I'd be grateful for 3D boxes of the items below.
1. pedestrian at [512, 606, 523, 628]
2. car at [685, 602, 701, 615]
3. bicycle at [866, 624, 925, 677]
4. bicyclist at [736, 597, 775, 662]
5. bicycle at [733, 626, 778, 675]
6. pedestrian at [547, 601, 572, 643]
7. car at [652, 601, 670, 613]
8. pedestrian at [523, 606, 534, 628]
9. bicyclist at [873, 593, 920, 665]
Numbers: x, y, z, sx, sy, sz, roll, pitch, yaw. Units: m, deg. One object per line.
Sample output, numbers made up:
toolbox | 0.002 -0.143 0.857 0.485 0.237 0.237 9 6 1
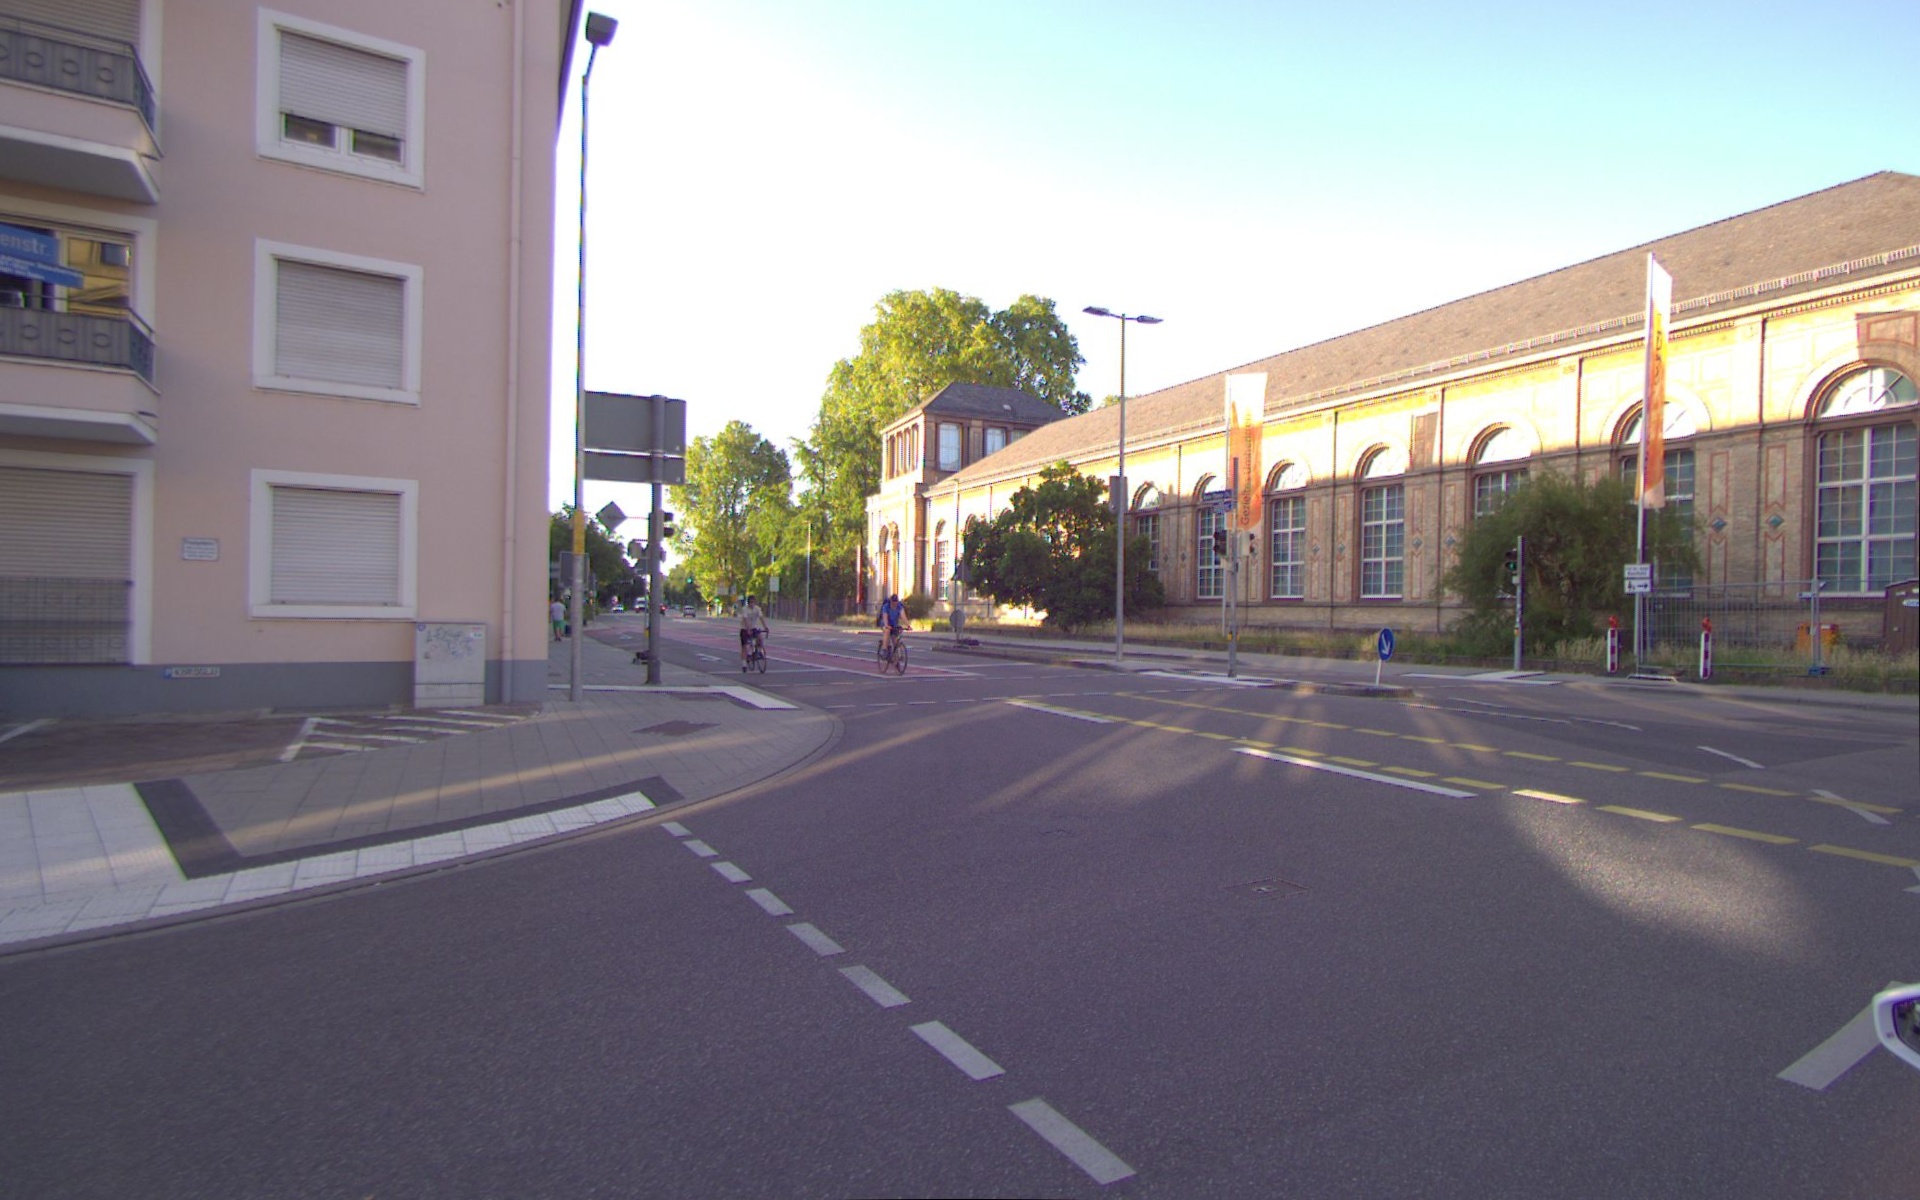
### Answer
pedestrian | -31.296 1.192 70.965 0.610 1.554 0.684 1 0 -32
car | -37.847 1.158 142.440 1.969 1.743 3.983 1 0 -19
bicycle | -1.463 1.104 22.475 0.713 1.082 1.990 1 0 -22
bicyclist | -4.687 0.669 22.995 0.703 1.459 0.889 1 0 -23
bicycle | -4.692 1.134 22.989 0.713 1.024 1.680 1 0 -22
pedestrian | -16.329 0.905 40.938 0.865 1.674 0.805 1 -3 -24
car | -41.802 0.964 140.357 1.971 1.743 3.979 1 0 -22
pedestrian | -30.589 1.208 71.235 0.610 1.595 0.718 1 0 -32
bicyclist | -1.425 0.630 22.383 0.703 1.565 1.119 1 0 -22
